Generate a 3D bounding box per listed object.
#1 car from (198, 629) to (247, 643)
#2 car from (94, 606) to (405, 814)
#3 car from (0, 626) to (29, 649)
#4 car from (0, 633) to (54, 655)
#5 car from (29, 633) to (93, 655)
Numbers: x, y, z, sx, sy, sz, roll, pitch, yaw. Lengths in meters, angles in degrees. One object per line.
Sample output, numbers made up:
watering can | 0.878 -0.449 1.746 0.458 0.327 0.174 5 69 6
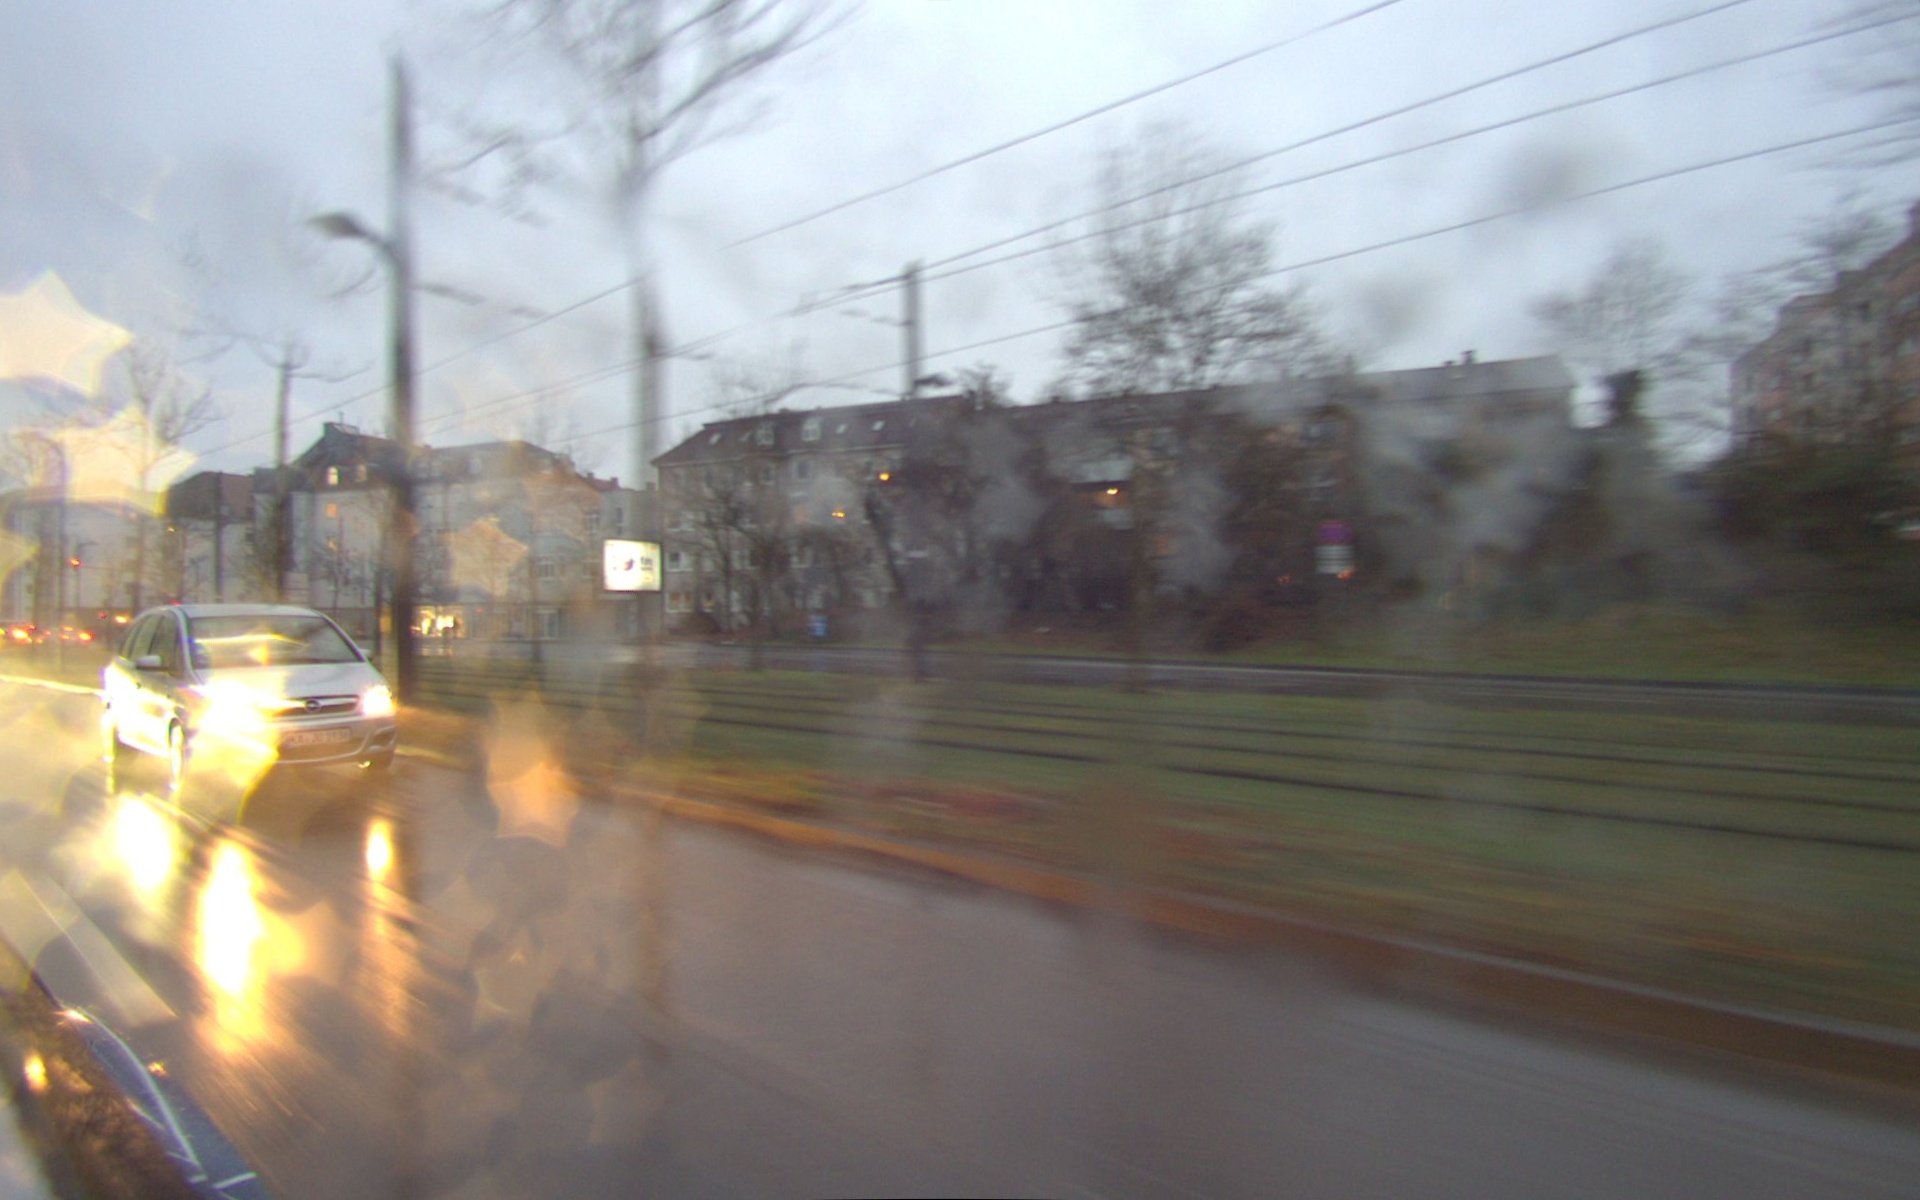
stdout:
car | -79.061 3.825 108.555 1.770 1.487 3.862 -2 -2 28
car | -6.899 0.884 9.667 3.922 1.587 1.647 -2 -2 43
car | -82.846 3.206 86.345 2.320 1.871 4.622 -2 -2 32
car | -62.951 2.958 68.069 4.275 1.365 1.877 -2 -2 32
car | -57.670 2.803 64.890 4.273 1.365 1.878 -2 -2 31
